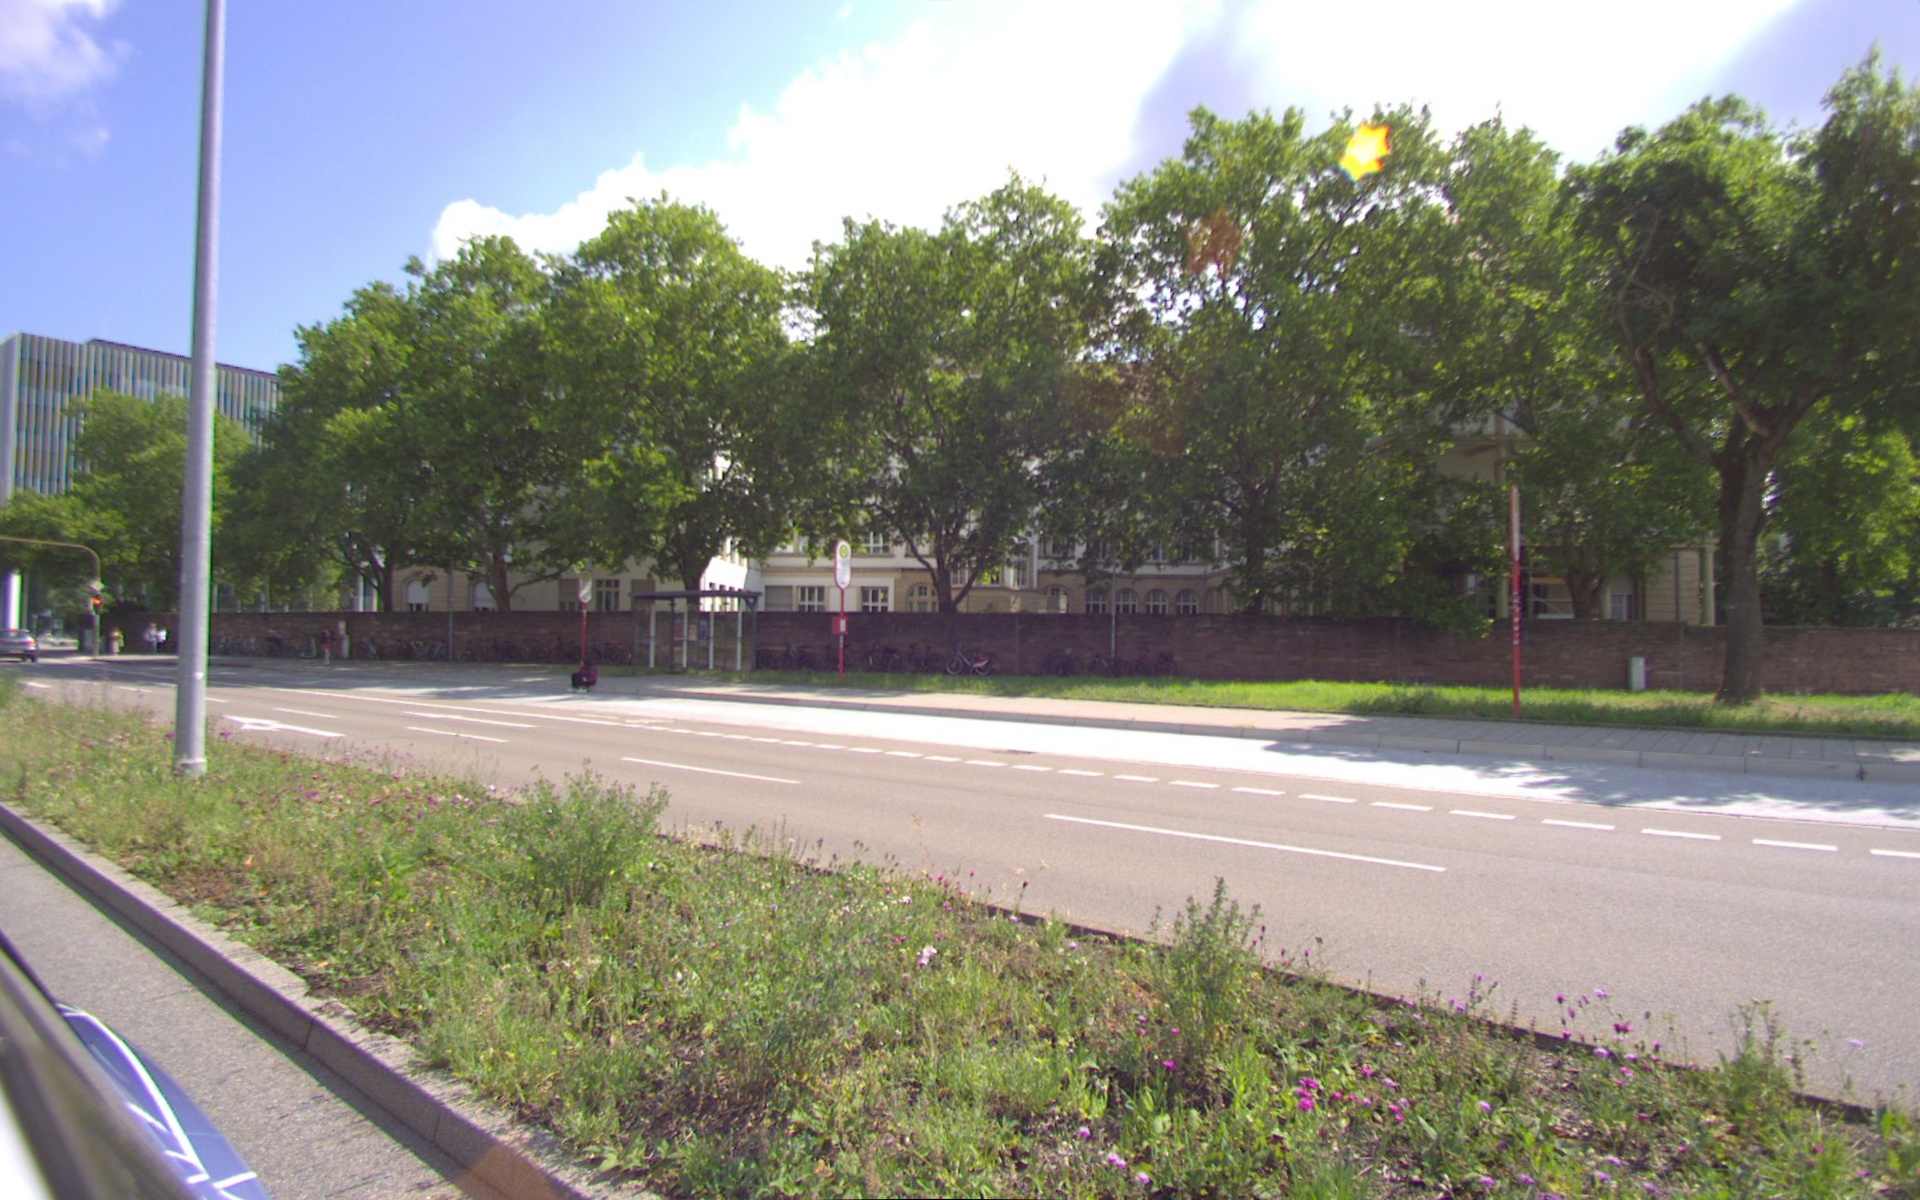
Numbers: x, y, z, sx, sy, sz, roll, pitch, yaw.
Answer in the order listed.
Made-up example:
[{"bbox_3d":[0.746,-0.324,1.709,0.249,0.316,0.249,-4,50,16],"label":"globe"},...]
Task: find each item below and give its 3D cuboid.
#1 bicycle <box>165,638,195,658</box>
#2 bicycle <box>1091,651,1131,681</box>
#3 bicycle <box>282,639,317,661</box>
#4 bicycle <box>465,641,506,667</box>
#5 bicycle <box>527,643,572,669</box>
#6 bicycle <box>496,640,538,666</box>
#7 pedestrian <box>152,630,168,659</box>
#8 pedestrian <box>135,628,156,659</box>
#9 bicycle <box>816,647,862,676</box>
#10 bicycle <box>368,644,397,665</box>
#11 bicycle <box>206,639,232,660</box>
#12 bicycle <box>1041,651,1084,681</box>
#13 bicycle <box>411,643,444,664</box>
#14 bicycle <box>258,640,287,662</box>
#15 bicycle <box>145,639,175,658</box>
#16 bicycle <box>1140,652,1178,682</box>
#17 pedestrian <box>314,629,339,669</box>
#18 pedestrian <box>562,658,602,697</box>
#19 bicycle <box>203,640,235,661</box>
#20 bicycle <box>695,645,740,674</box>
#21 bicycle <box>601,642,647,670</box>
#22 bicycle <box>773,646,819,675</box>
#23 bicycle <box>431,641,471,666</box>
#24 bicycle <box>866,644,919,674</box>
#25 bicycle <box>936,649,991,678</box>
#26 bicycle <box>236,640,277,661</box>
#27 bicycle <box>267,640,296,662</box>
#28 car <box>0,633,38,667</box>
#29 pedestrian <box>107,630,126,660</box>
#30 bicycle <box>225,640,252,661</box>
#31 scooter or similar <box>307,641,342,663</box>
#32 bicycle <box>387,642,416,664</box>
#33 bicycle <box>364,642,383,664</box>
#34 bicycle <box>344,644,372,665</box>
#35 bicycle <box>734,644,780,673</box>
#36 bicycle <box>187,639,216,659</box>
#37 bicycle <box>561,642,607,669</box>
[{"bbox_3d":[-42.838,2.637,55.567,1.873,1.056,0.625,-1,-3,29],"label":"bicycle"},{"bbox_3d":[5.266,2.282,35.278,1.359,1.019,0.390,-1,-3,18],"label":"bicycle"},{"bbox_3d":[-32.305,2.458,49.489,1.873,1.056,0.576,-1,-3,29],"label":"bicycle"},{"bbox_3d":[-20.371,2.301,43.472,1.744,1.081,0.579,-1,-3,23],"label":"bicycle"},{"bbox_3d":[-17.031,2.315,41.986,1.741,1.081,0.581,-1,-2,17],"label":"bicycle"},{"bbox_3d":[-18.733,2.221,42.773,1.744,1.081,0.580,-1,-2,22],"label":"bicycle"},{"bbox_3d":[-43.805,2.430,55.432,0.614,1.552,0.472,-1,-3,33],"label":"pedestrian"},{"bbox_3d":[-43.778,2.324,54.421,0.729,1.664,0.636,-1,-3,33],"label":"pedestrian"},{"bbox_3d":[-4.511,2.284,37.690,1.617,1.081,0.581,-1,-2,17],"label":"bicycle"},{"bbox_3d":[-26.658,2.494,46.712,1.393,0.962,0.364,-1,-3,23],"label":"bicycle"},{"bbox_3d":[-39.229,2.614,53.559,1.873,1.056,0.367,-1,-3,29],"label":"bicycle"},{"bbox_3d":[3.606,2.319,35.632,1.444,1.019,0.469,-1,-3,18],"label":"bicycle"},{"bbox_3d":[-23.782,2.384,45.203,1.616,0.962,0.368,-1,-3,23],"label":"bicycle"},{"bbox_3d":[-34.144,2.545,50.269,1.873,1.056,0.370,-1,-3,29],"label":"bicycle"},{"bbox_3d":[-44.827,2.720,56.705,1.873,1.056,0.625,-1,-3,29],"label":"bicycle"},{"bbox_3d":[6.869,2.299,34.944,1.244,1.019,0.351,-1,-3,18],"label":"bicycle"},{"bbox_3d":[-26.044,2.016,41.625,0.744,1.622,0.649,-2,-2,39],"label":"pedestrian"},{"bbox_3d":[-9.922,2.031,26.583,0.742,0.970,0.688,-1,-2,37],"label":"pedestrian"},{"bbox_3d":[-38.307,2.587,52.305,1.873,1.056,0.588,-1,-3,29],"label":"bicycle"},{"bbox_3d":[-9.394,2.290,39.191,1.617,1.081,0.581,-1,-2,17],"label":"bicycle"},{"bbox_3d":[-13.514,2.233,40.676,1.741,1.081,0.581,-1,-2,17],"label":"bicycle"},{"bbox_3d":[-6.179,2.266,38.164,1.617,1.081,0.581,-1,-2,17],"label":"bicycle"},{"bbox_3d":[-22.333,2.351,44.385,1.744,1.081,0.579,-1,-3,23],"label":"bicycle"},{"bbox_3d":[-2.482,2.150,37.191,1.857,1.081,0.580,-1,-2,22],"label":"bicycle"},{"bbox_3d":[0.134,2.273,36.446,1.948,1.019,0.469,-1,-3,18],"label":"bicycle"},{"bbox_3d":[-35.681,2.573,51.348,1.863,1.056,0.591,0,-2,14],"label":"bicycle"},{"bbox_3d":[-33.877,2.549,50.537,1.873,1.056,0.391,-1,-3,29],"label":"bicycle"},{"bbox_3d":[-43.039,2.219,45.447,4.140,1.456,1.684,-2,-4,38],"label":"car"},{"bbox_3d":[-47.080,2.502,56.497,0.725,1.664,0.556,-1,-3,33],"label":"pedestrian"},{"bbox_3d":[-37.382,2.596,52.420,1.873,1.056,0.367,-1,-3,29],"label":"bicycle"},{"bbox_3d":[-30.547,2.486,48.641,1.873,1.056,0.576,-1,-3,29],"label":"scooter or similar"},{"bbox_3d":[-25.366,2.411,45.993,1.393,0.962,0.364,-1,-3,23],"label":"bicycle"},{"bbox_3d":[-26.672,2.395,46.017,0.362,0.962,1.626,2,-3,-42],"label":"bicycle"},{"bbox_3d":[-28.141,2.547,47.309,1.393,0.962,0.364,-1,-3,23],"label":"bicycle"},{"bbox_3d":[-7.761,2.239,38.692,1.617,1.081,0.581,-1,-2,17],"label":"bicycle"},{"bbox_3d":[-40.917,2.644,54.590,1.873,1.056,0.560,-1,-3,29],"label":"bicycle"},{"bbox_3d":[-15.340,2.250,41.264,1.741,1.081,0.581,-1,-2,17],"label":"bicycle"}]
